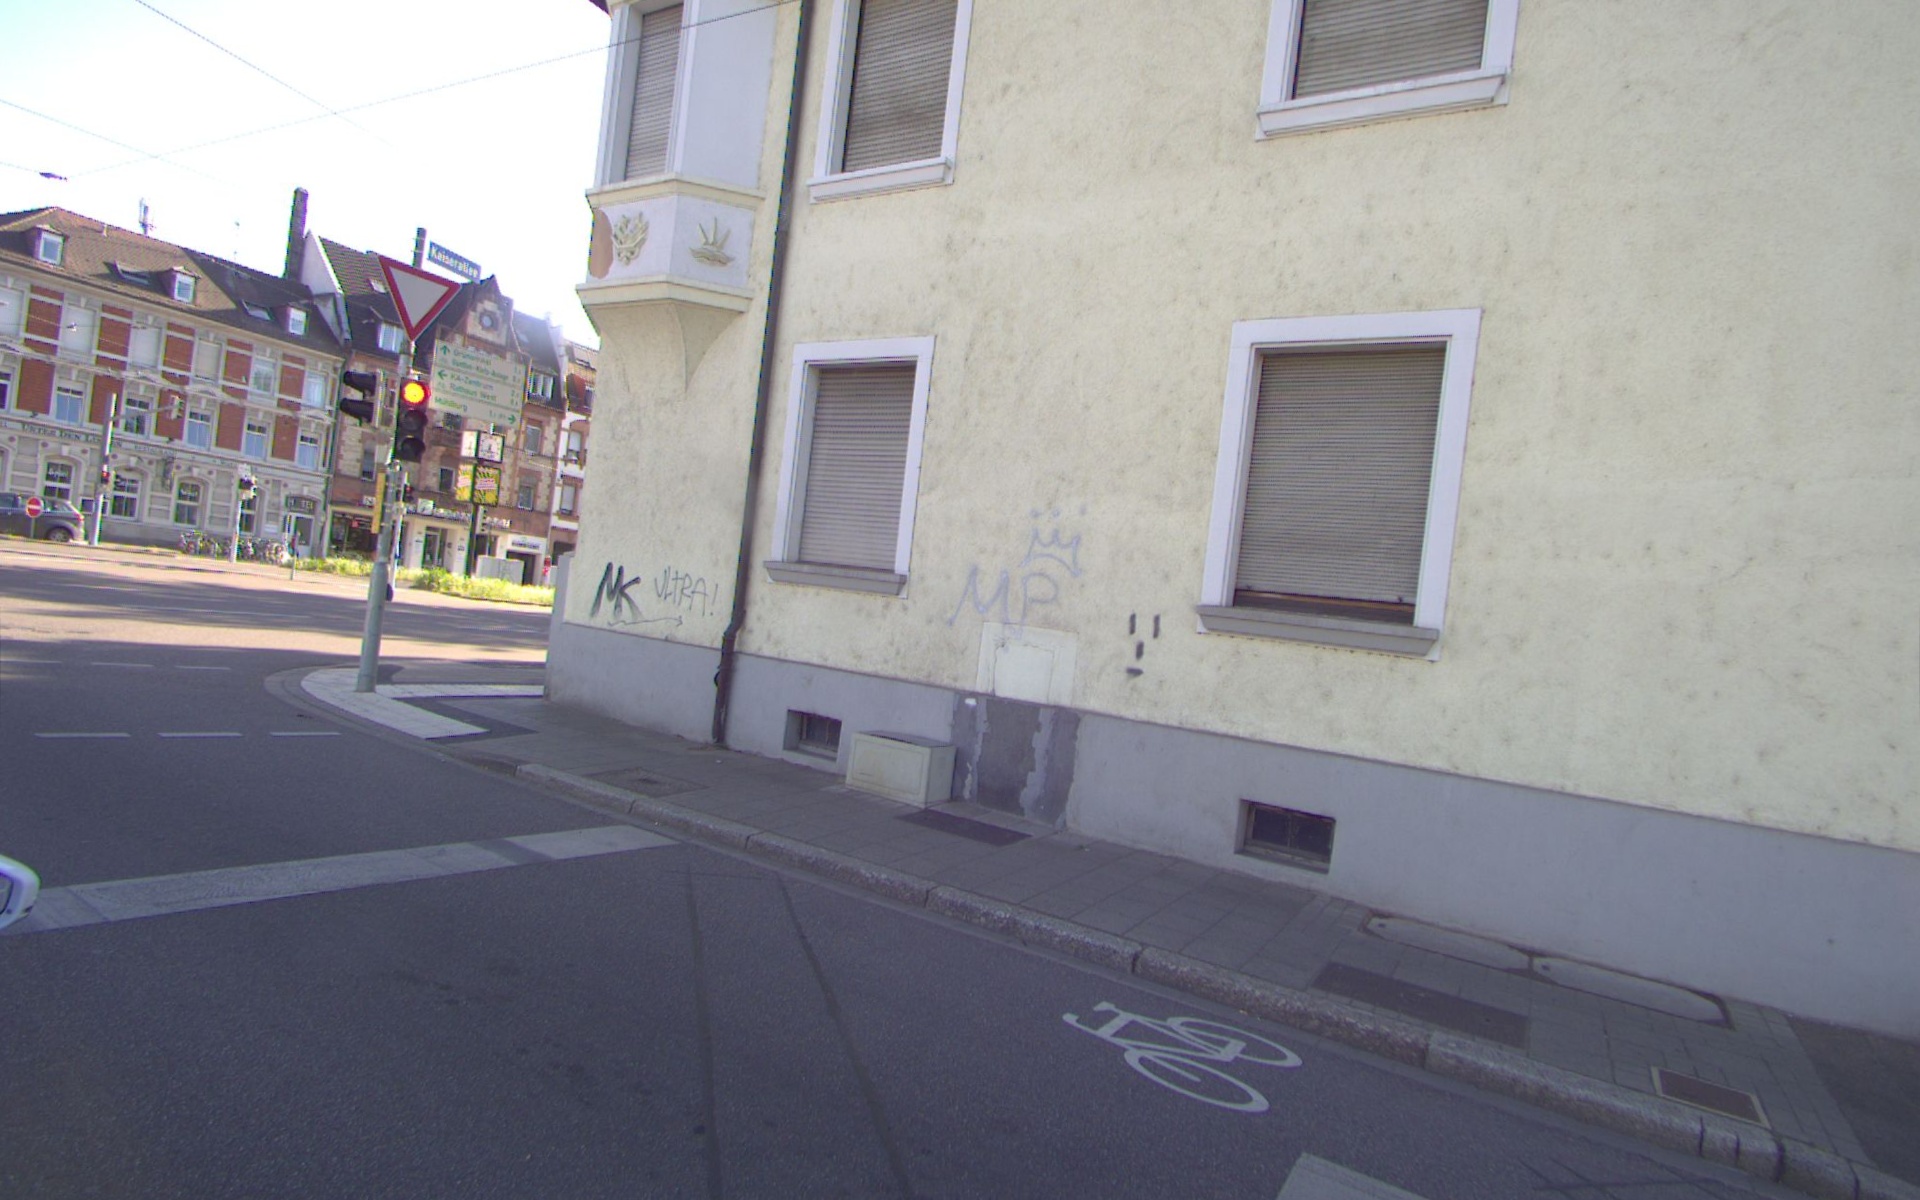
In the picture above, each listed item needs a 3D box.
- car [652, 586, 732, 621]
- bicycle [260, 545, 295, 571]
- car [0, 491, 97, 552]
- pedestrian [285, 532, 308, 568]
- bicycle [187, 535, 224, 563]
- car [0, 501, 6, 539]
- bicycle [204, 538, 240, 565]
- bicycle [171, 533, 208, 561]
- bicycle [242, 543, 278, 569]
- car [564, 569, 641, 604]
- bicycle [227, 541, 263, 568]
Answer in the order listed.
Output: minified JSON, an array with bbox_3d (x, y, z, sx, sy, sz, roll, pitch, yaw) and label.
[{"bbox_3d":[-17.413,0.270,65.574,1.967,1.680,4.856,7,-1,31],"label":"car"},{"bbox_3d":[-32.987,-2.017,48.586,1.614,1.064,0.606,7,0,27],"label":"bicycle"},{"bbox_3d":[-32.563,-2.829,34.110,1.967,1.692,4.518,7,-1,31],"label":"car"},{"bbox_3d":[-34.500,-2.616,52.293,0.414,1.773,0.709,7,0,33],"label":"pedestrian"},{"bbox_3d":[-34.652,-2.333,46.192,1.614,1.064,0.606,7,0,27],"label":"bicycle"},{"bbox_3d":[-36.109,-3.120,34.467,1.966,1.356,4.519,7,-1,30],"label":"car"},{"bbox_3d":[-34.322,-2.266,46.768,1.614,1.064,0.606,7,0,27],"label":"bicycle"},{"bbox_3d":[-34.952,-2.395,45.610,1.614,1.064,0.606,7,0,27],"label":"bicycle"},{"bbox_3d":[-33.361,-2.092,47.949,1.614,1.064,0.606,7,0,27],"label":"bicycle"},{"bbox_3d":[-23.129,-0.867,65.307,1.966,1.674,4.378,7,-1,29],"label":"car"},{"bbox_3d":[-33.655,-2.155,47.338,1.614,1.064,0.606,7,0,27],"label":"bicycle"}]
